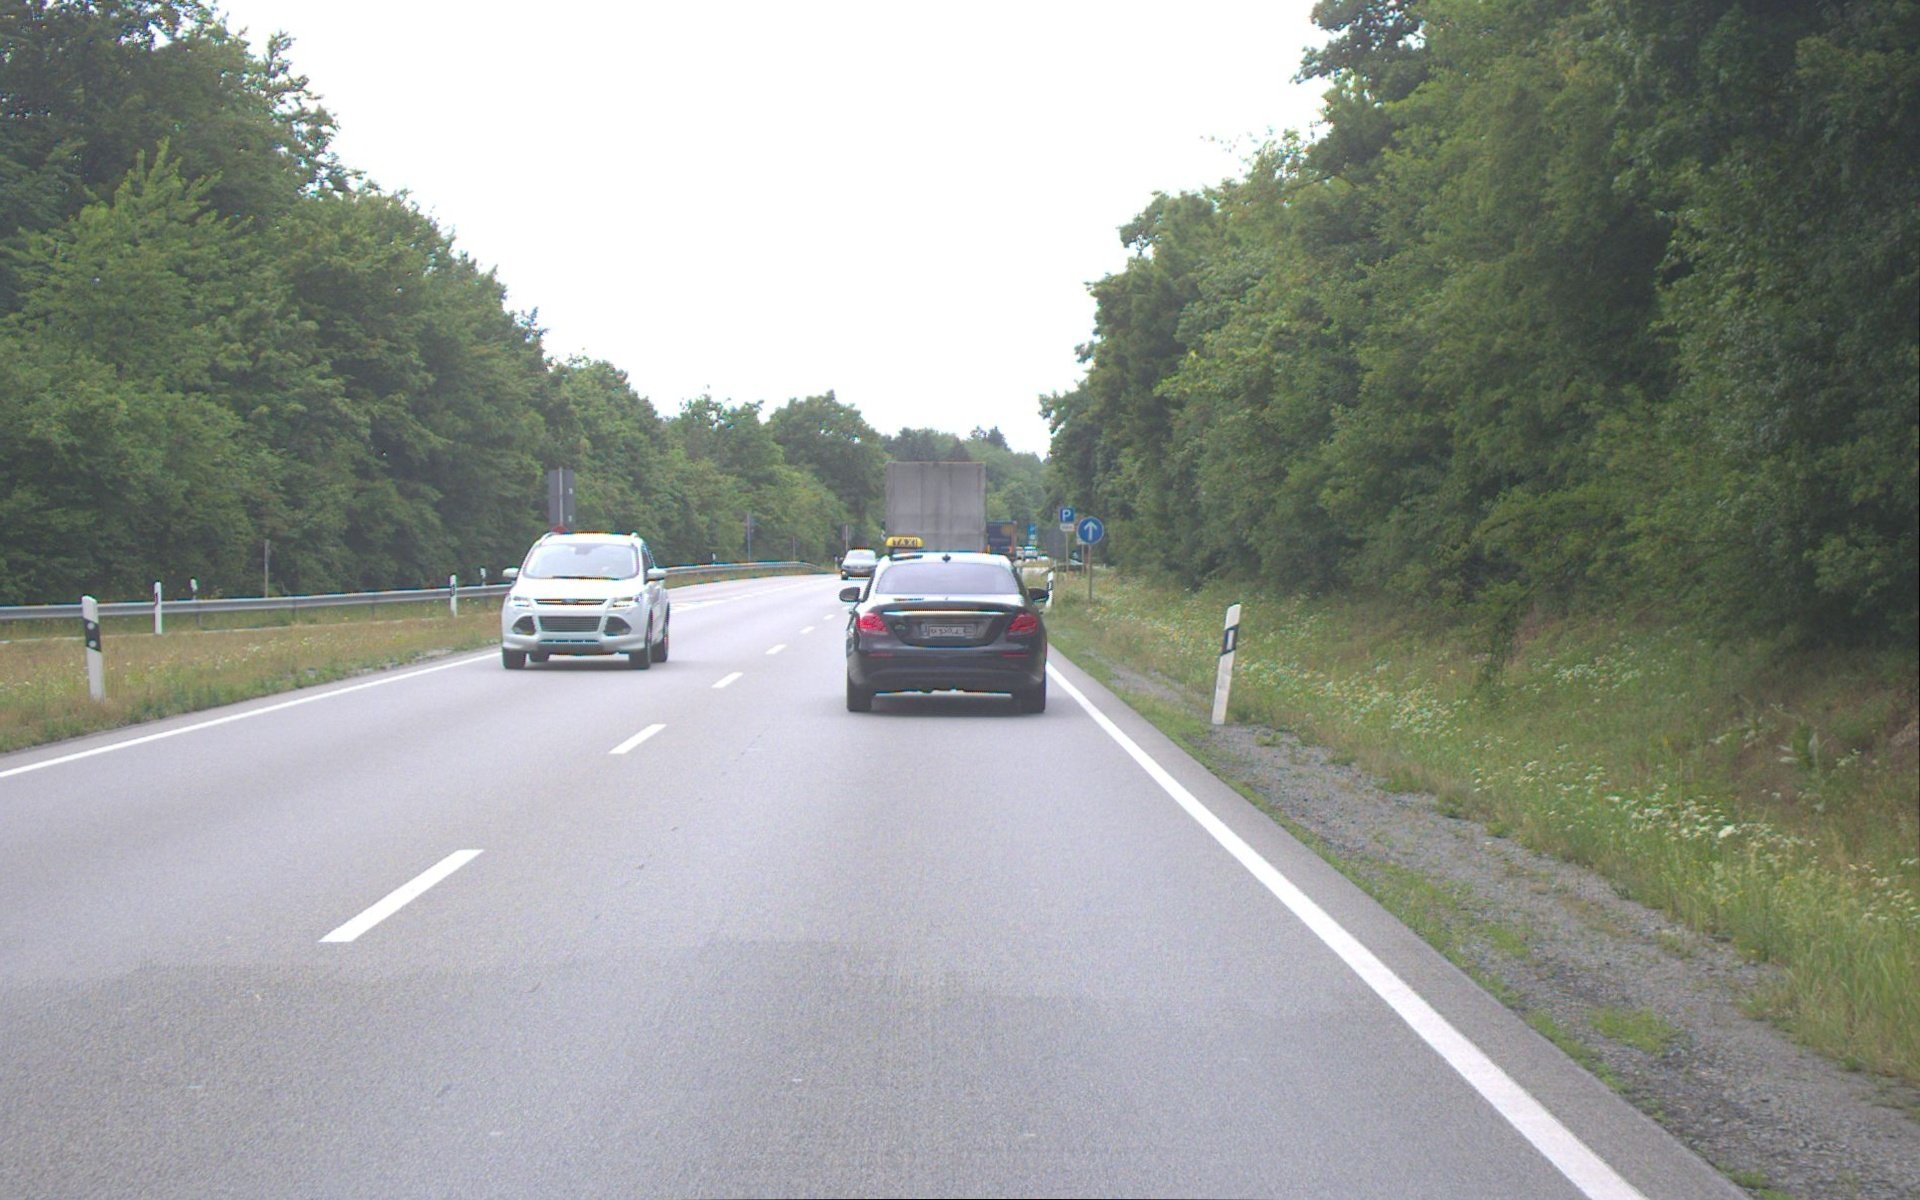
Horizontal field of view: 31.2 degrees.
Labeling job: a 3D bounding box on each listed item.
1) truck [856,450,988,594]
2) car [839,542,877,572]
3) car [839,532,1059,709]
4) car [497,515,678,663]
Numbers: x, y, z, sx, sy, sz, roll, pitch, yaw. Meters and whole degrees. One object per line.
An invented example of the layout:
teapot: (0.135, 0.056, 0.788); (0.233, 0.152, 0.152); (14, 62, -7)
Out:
truck: (-0.934, -2.043, 92.105); (3.281, 3.599, 11.400); (1, 1, 0)
car: (-5.019, -2.100, 168.847); (1.808, 1.437, 4.448); (1, 1, -2)
car: (-0.164, 0.152, 32.259); (1.791, 1.546, 4.001); (1, 1, -4)
car: (-4.716, -0.165, 44.063); (1.913, 1.774, 4.613); (1, 1, -1)
